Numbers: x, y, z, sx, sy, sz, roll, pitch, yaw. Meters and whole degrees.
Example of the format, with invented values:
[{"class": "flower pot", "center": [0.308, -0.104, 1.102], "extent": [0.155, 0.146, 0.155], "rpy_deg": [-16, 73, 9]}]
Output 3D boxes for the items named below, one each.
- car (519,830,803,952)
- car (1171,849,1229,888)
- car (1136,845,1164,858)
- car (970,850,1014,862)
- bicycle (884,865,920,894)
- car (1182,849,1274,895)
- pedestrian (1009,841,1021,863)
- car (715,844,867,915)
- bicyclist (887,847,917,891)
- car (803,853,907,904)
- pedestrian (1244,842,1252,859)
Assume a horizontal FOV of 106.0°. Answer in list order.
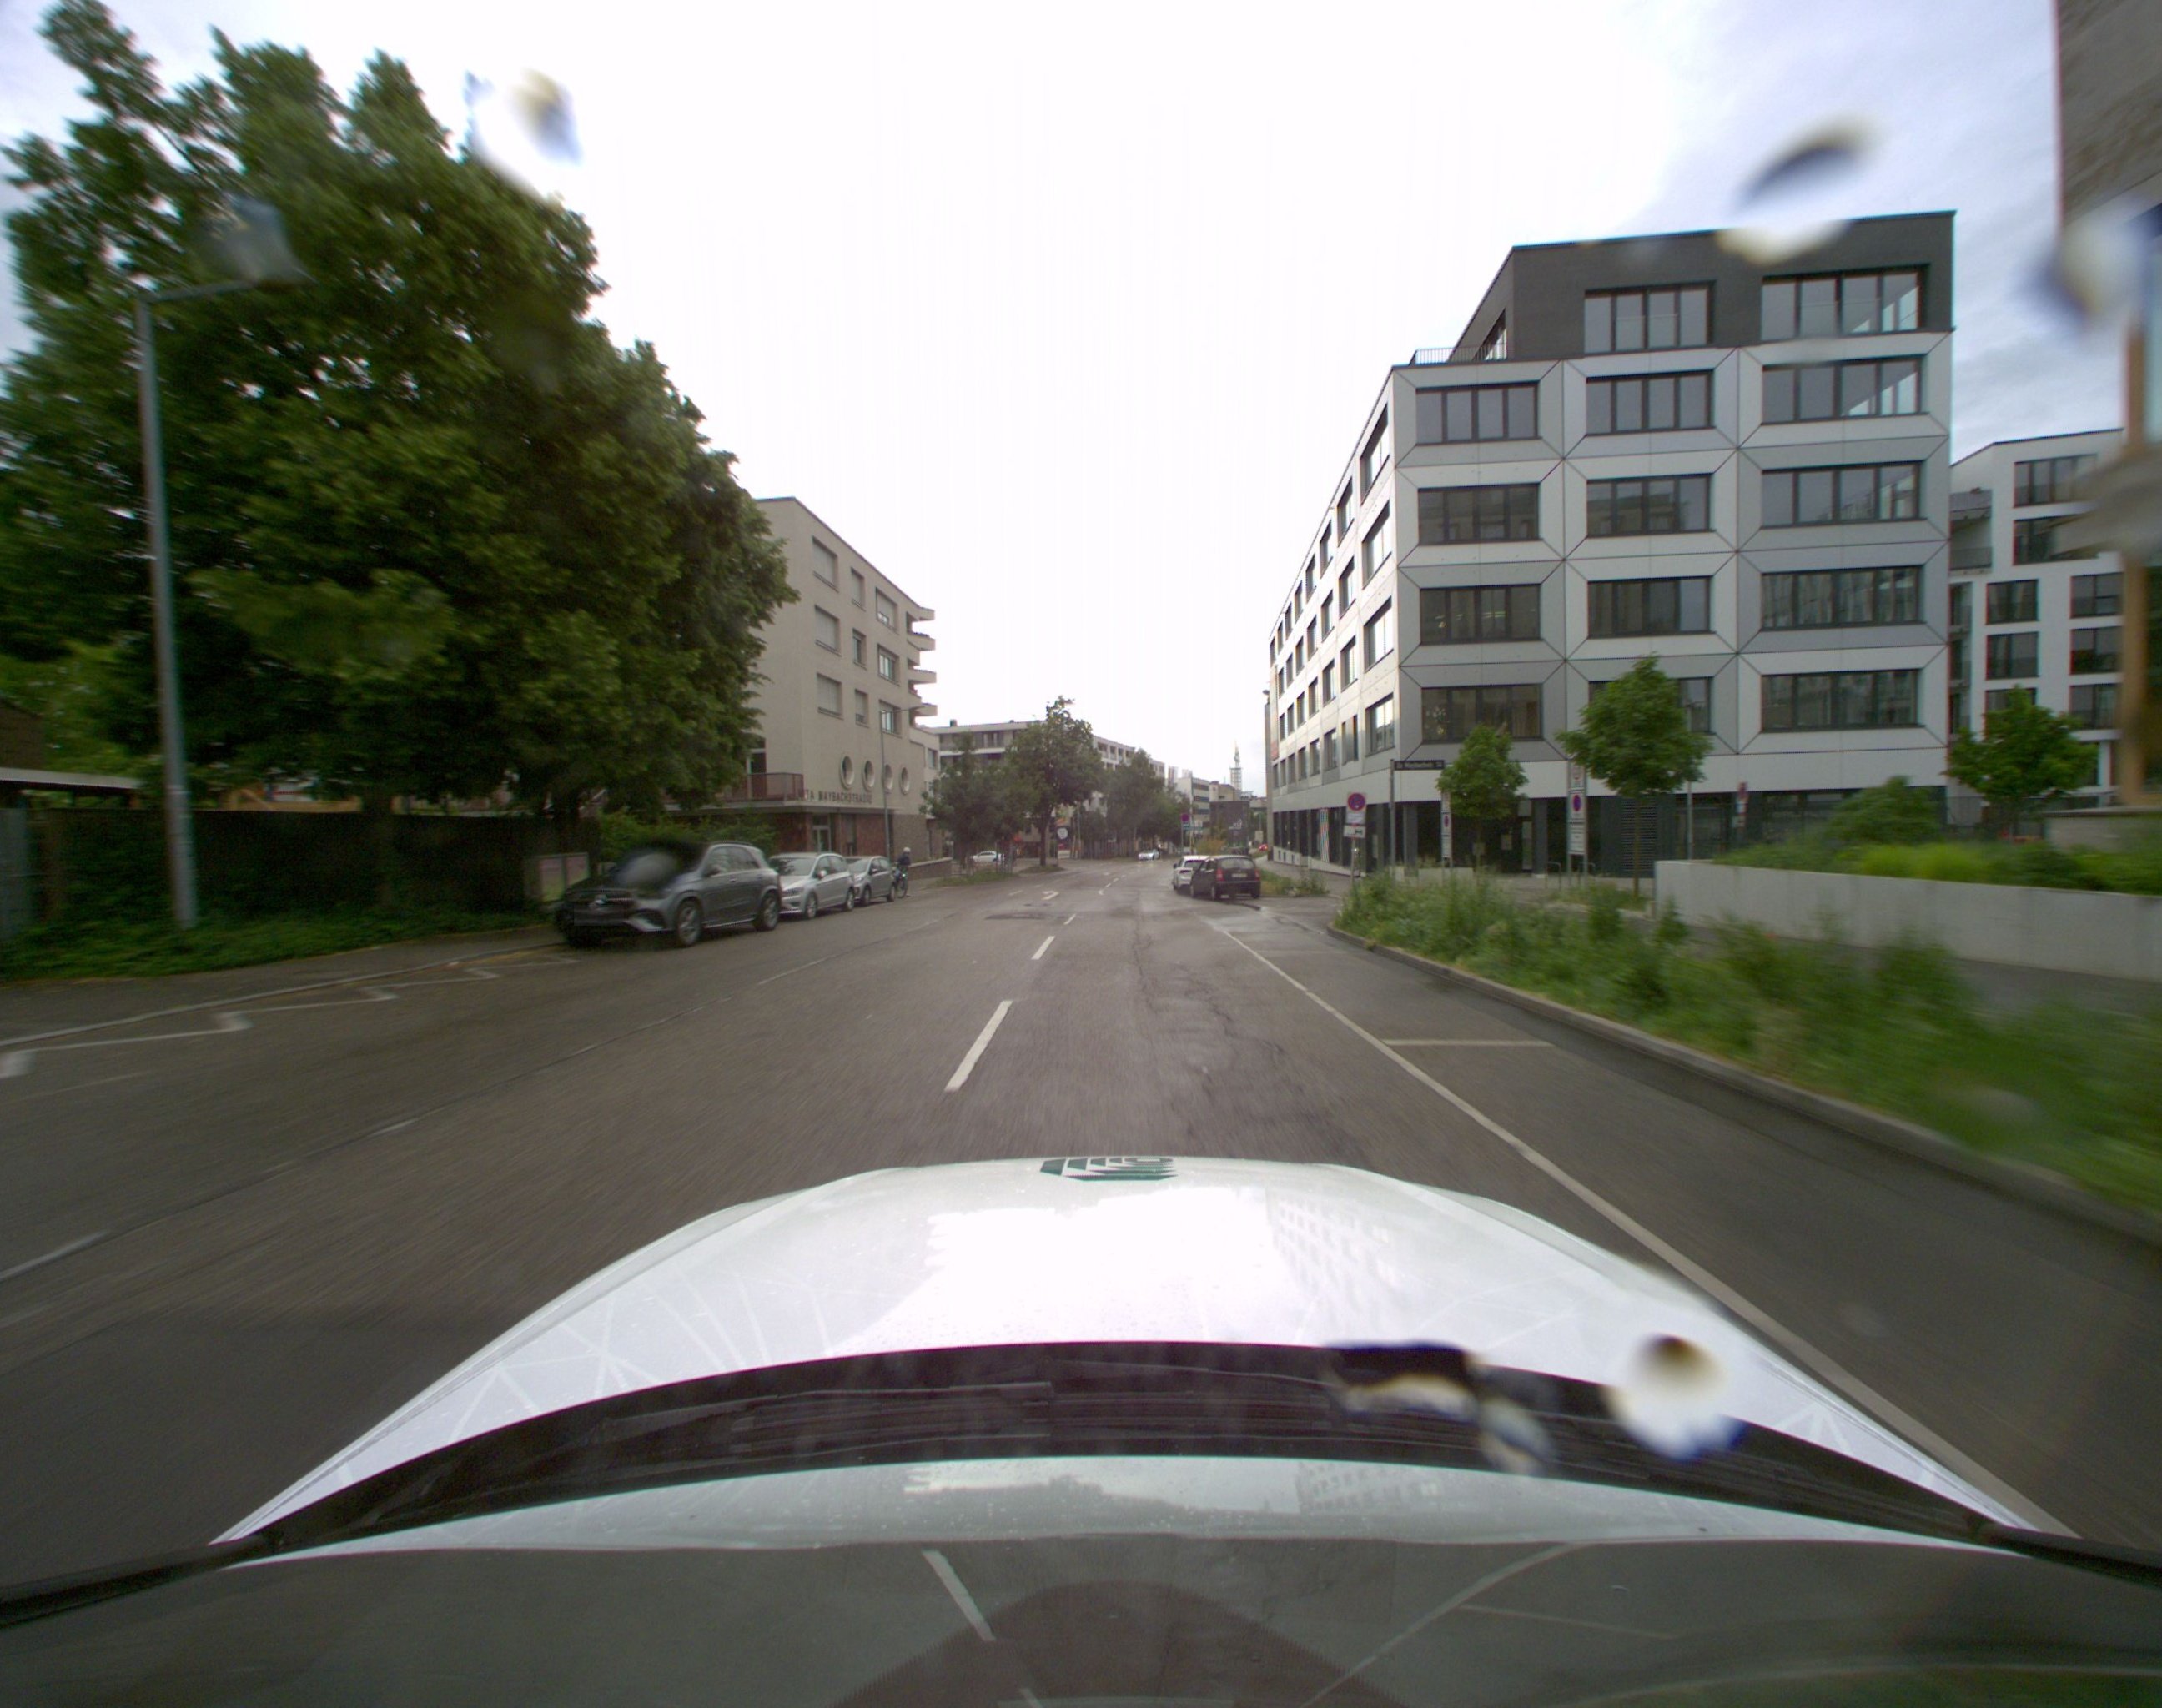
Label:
[{"class": "car", "center": [-7.115, 0.546, 14.692], "extent": [1.984, 1.786, 5.417], "rpy_deg": [0, 0, 5]}, {"class": "car", "center": [4.787, 0.546, 33.325], "extent": [2.030, 1.464, 4.508], "rpy_deg": [0, 0, 4]}, {"class": "car", "center": [9.015, -0.292, 105.990], "extent": [2.038, 1.660, 4.849], "rpy_deg": [-1, 0, 26]}, {"class": "car", "center": [-9.914, 0.179, 91.166], "extent": [4.673, 1.292, 1.999], "rpy_deg": [0, 0, -1]}, {"class": "bicycle", "center": [-6.278, 0.876, 28.611], "extent": [0.799, 0.979, 2.253], "rpy_deg": [0, 0, -1]}, {"class": "car", "center": [5.014, 0.563, 28.402], "extent": [2.042, 1.458, 4.045], "rpy_deg": [0, 0, -7]}, {"class": "pedestrian", "center": [-6.123, -0.195, 75.872], "extent": [1.053, 2.014, 1.098], "rpy_deg": [0, 0, -4]}, {"class": "car", "center": [-7.108, 0.565, 20.560], "extent": [1.981, 1.593, 4.494], "rpy_deg": [0, 0, 4]}, {"class": "bicyclist", "center": [-6.291, 0.505, 28.681], "extent": [0.799, 1.522, 1.201], "rpy_deg": [0, 0, -2]}, {"class": "car", "center": [-6.836, 0.701, 25.078], "extent": [1.871, 1.463, 3.852], "rpy_deg": [0, 0, 4]}, {"class": "pedestrian", "center": [18.097, -0.391, 88.469], "extent": [0.817, 1.796, 1.212], "rpy_deg": [-1, -1, 11]}]
